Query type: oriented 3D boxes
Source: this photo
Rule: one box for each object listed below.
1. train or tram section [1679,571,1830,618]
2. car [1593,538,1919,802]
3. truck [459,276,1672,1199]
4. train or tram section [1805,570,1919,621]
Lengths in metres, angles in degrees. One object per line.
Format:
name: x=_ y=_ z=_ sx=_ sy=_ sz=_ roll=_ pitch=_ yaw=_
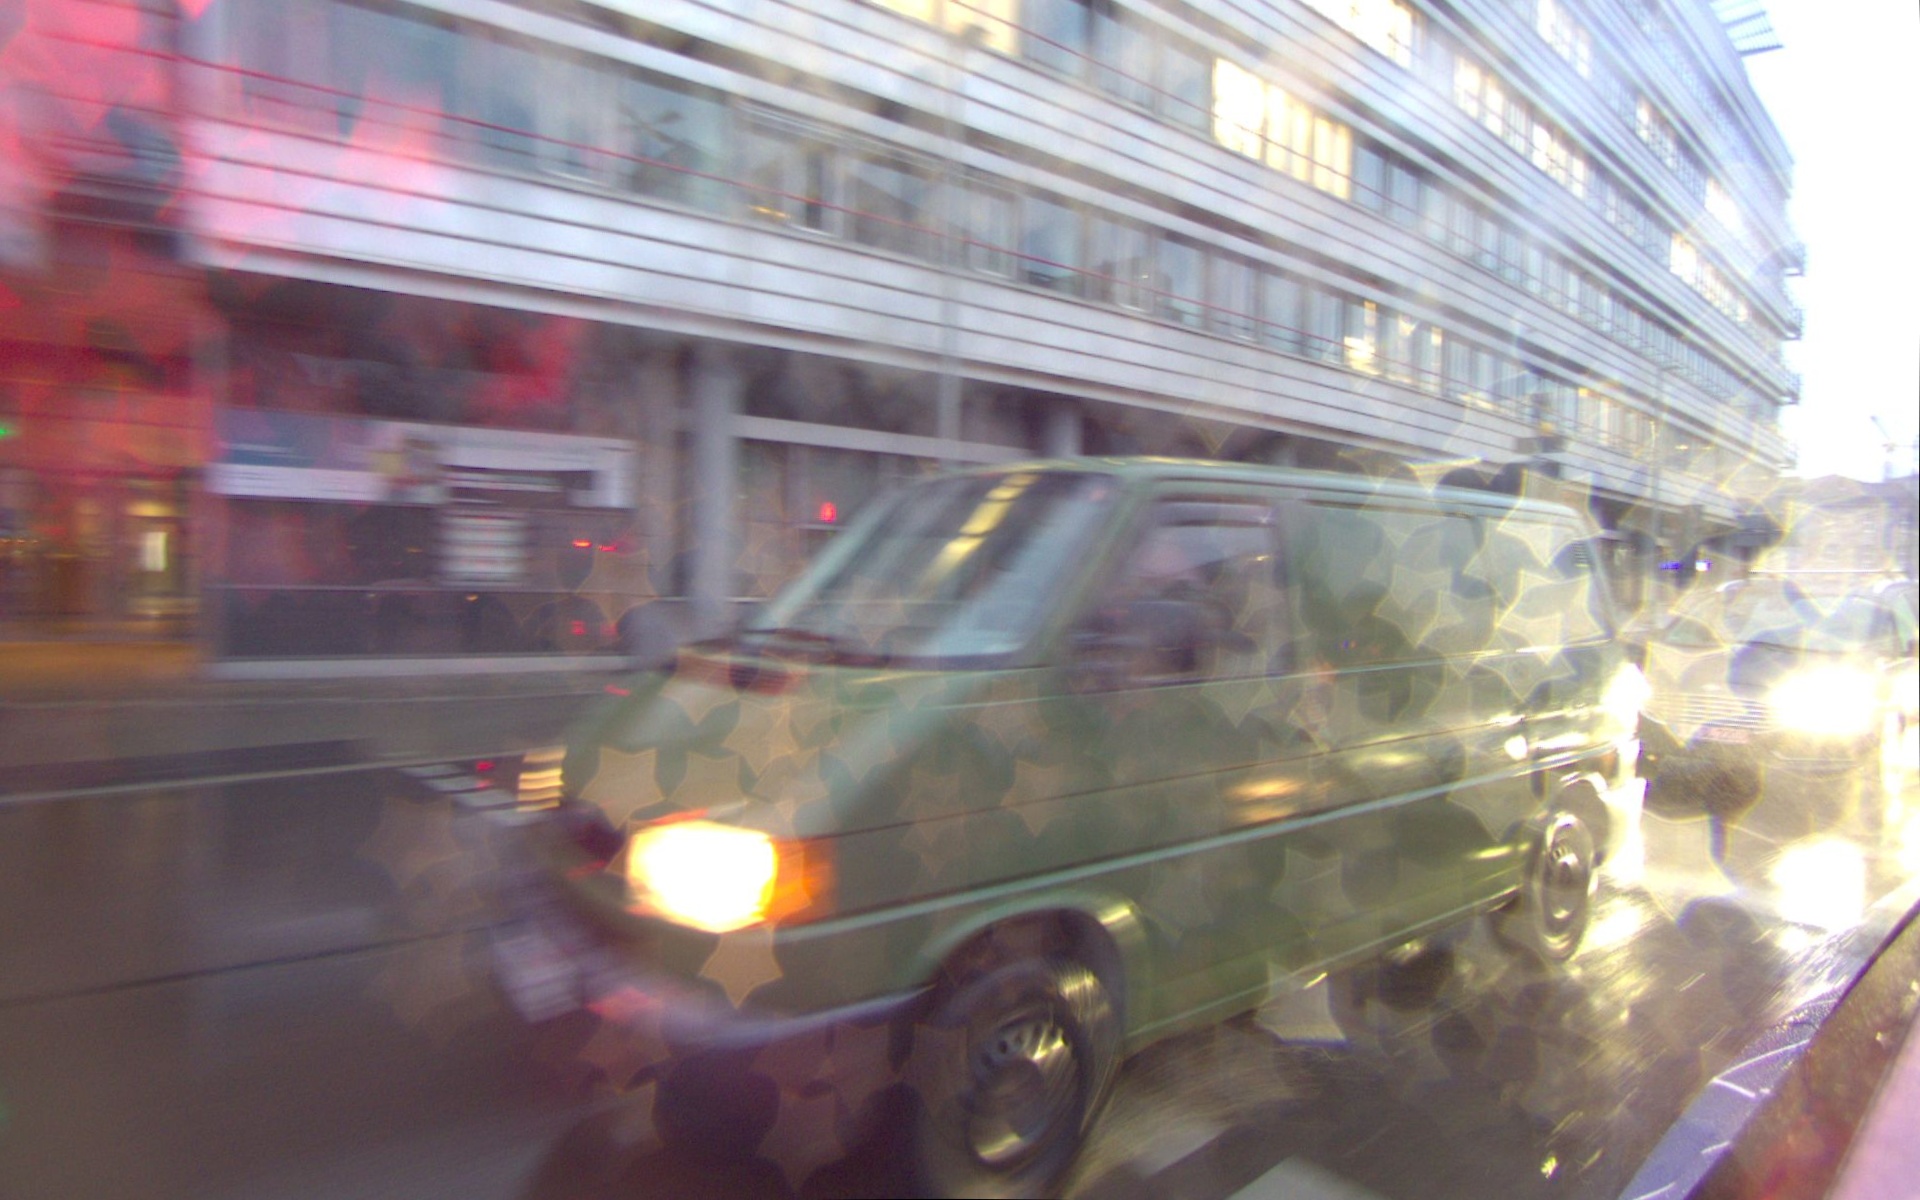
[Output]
train or tram section: x=88.063 y=-0.629 z=112.729 sx=3.660 sy=4.995 sz=13.414 roll=0 pitch=0 yaw=-18
car: x=7.805 y=0.484 z=9.221 sx=4.601 sy=1.842 sz=1.910 roll=0 pitch=0 yaw=-36
truck: x=0.749 y=0.405 z=3.873 sx=4.530 sy=1.941 sz=1.910 roll=0 pitch=0 yaw=-36
train or tram section: x=92.655 y=-0.482 z=100.347 sx=3.661 sy=4.921 sz=13.412 roll=0 pitch=0 yaw=-22
